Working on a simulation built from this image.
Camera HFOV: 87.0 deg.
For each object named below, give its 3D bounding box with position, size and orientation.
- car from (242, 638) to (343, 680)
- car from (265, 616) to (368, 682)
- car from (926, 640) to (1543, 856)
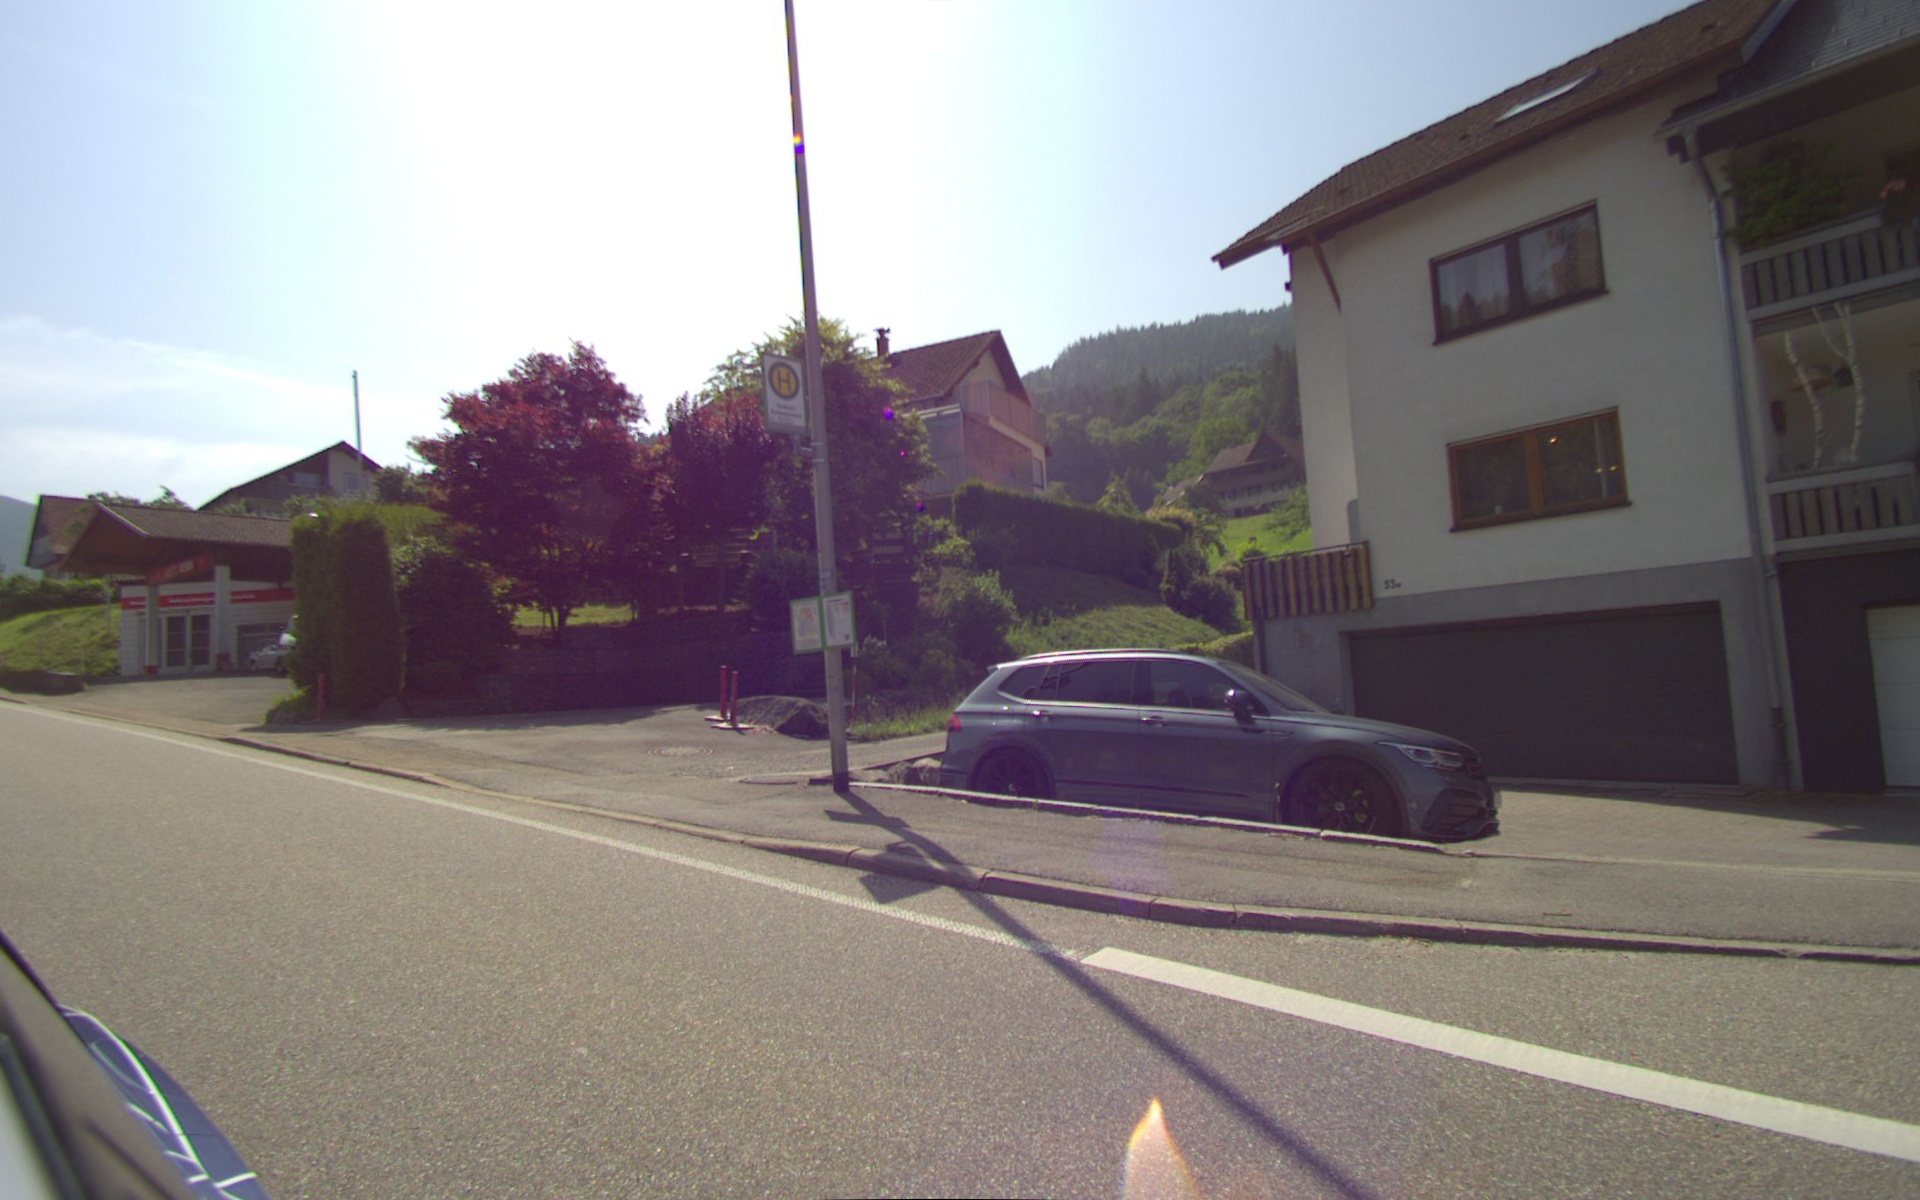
[{"bbox_3d":[-25.383,2.253,38.435,4.337,1.424,1.939,-5,-5,38],"label":"car"},{"bbox_3d":[-21.064,1.555,33.327,1.992,1.944,4.793,3,-2,-23],"label":"car"},{"bbox_3d":[2.103,1.038,8.509,4.685,1.349,1.766,-2,-3,36],"label":"car"}]
